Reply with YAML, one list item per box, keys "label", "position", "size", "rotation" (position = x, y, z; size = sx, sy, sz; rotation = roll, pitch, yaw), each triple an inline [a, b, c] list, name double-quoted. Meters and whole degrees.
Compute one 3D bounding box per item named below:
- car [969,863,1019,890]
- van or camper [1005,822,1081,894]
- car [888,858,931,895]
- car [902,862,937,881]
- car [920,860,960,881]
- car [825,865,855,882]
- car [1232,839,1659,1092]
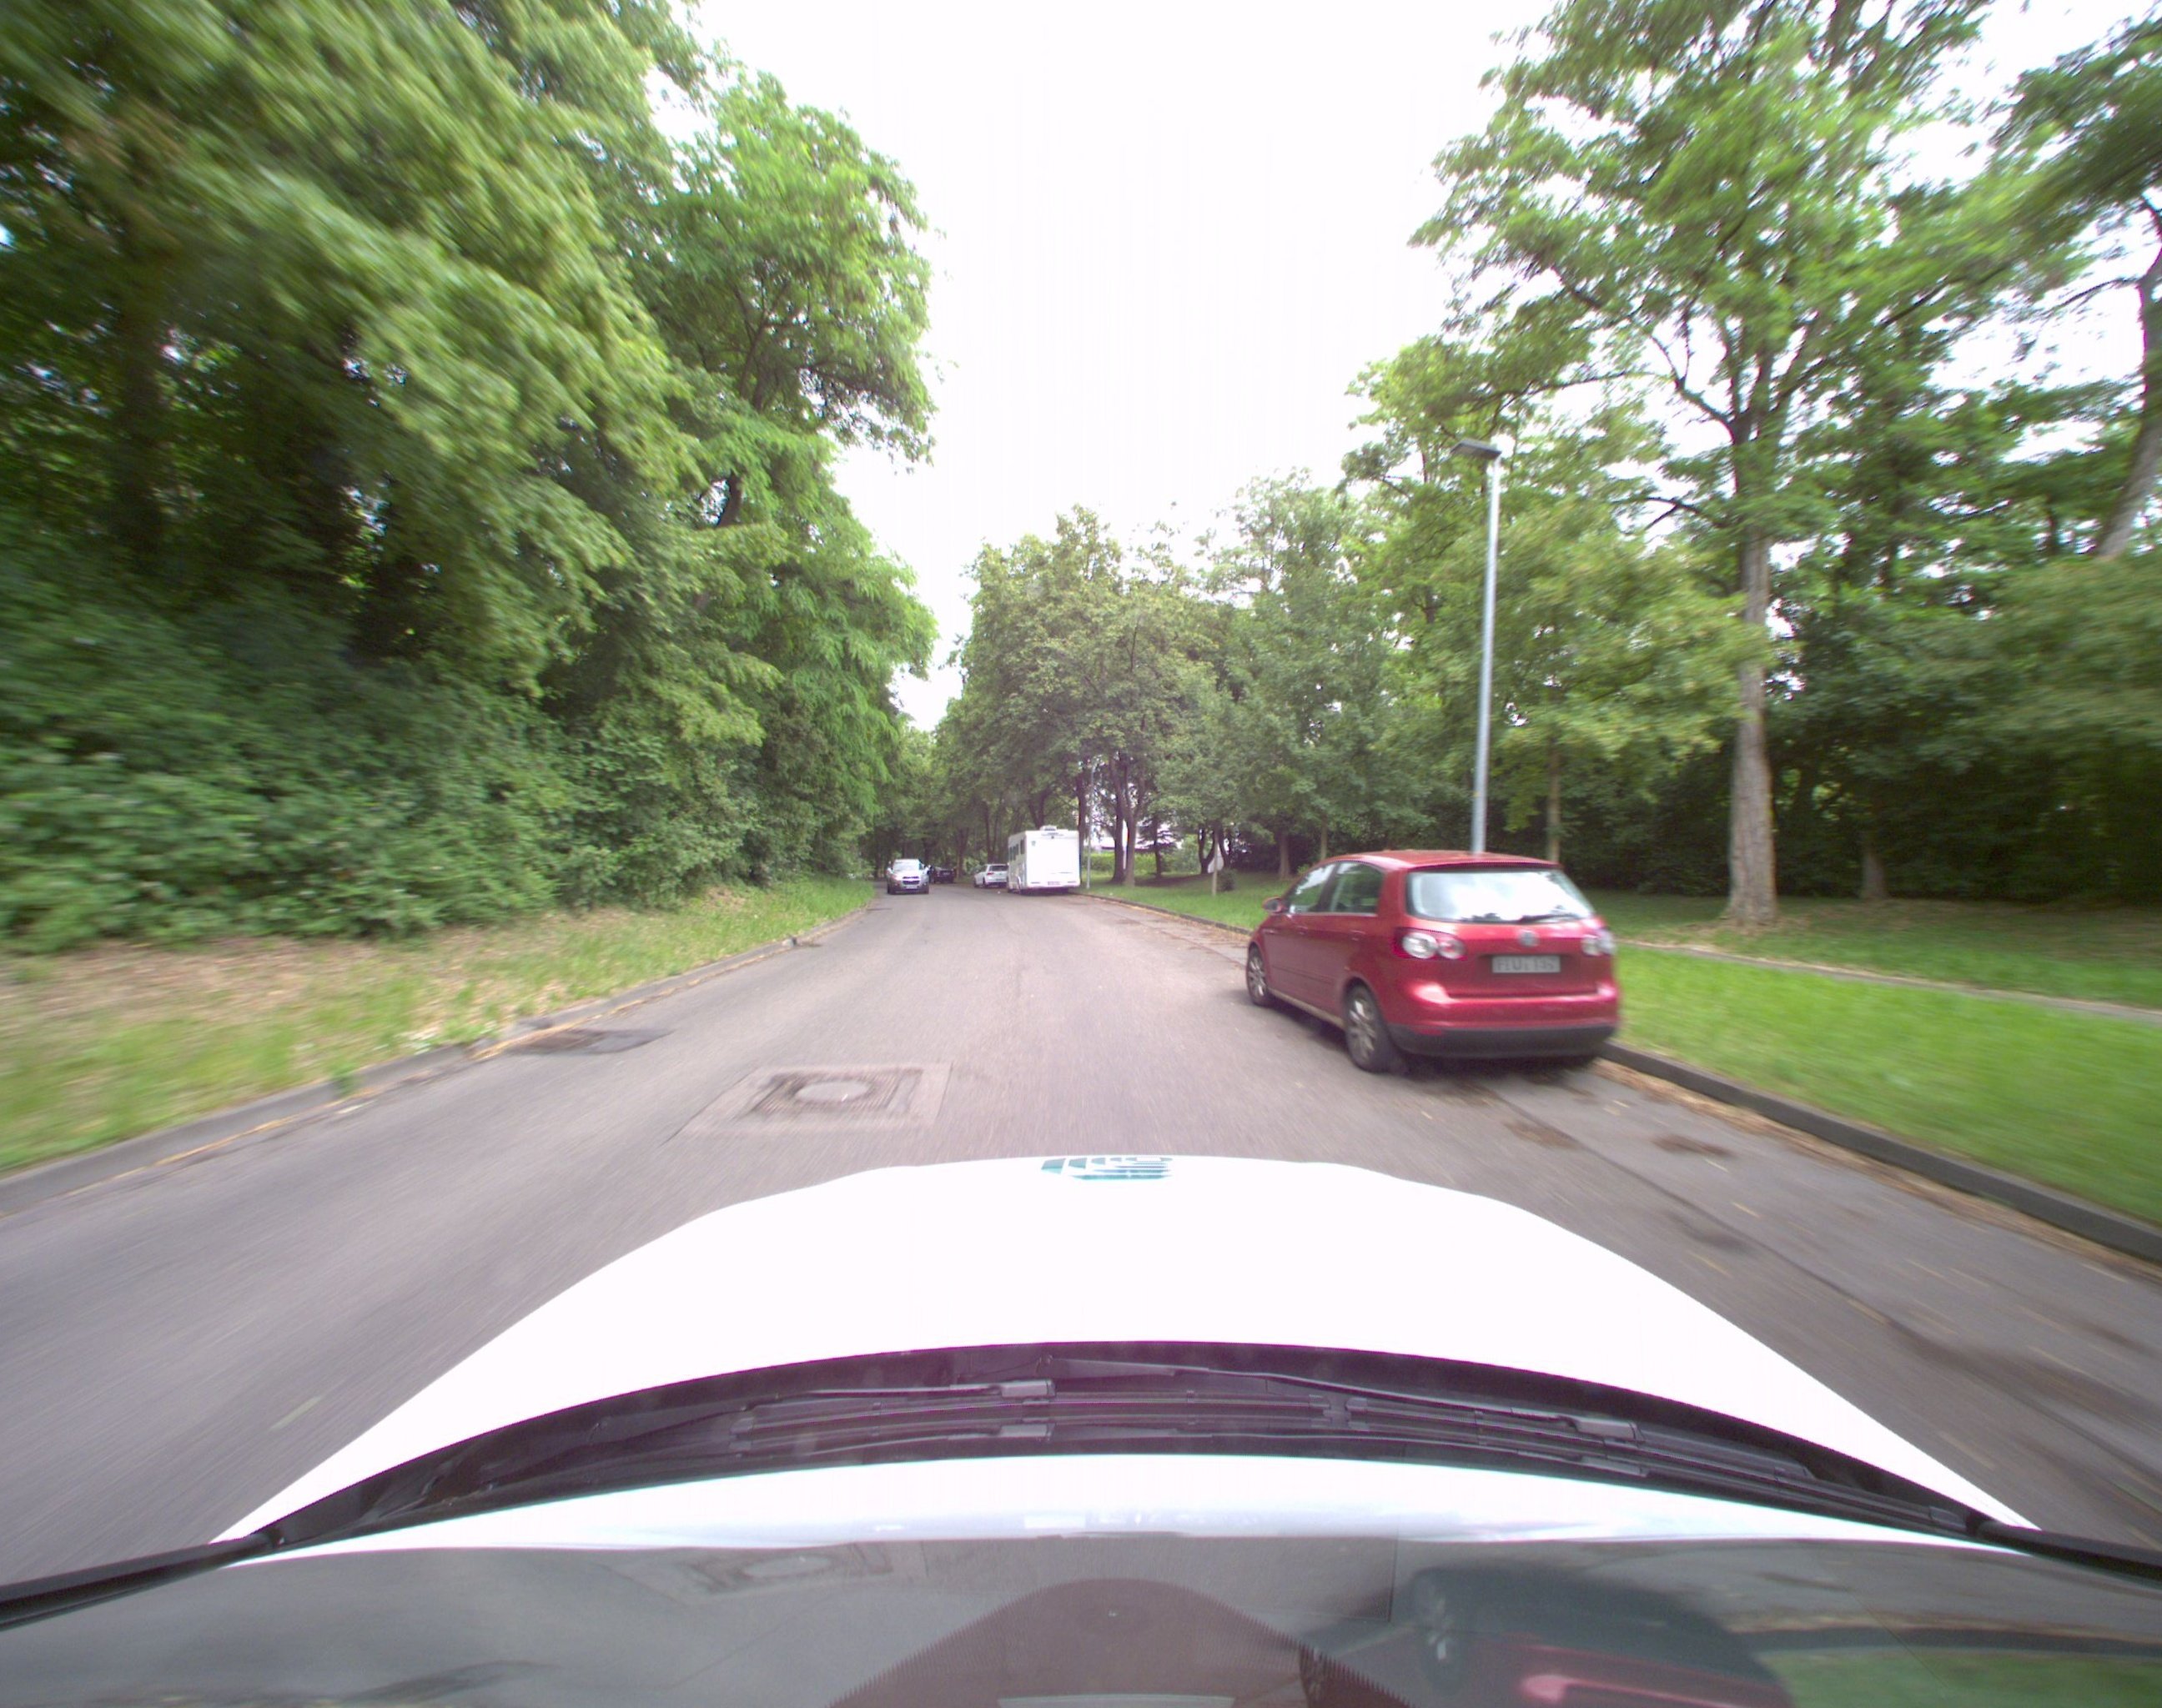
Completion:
- label: "car"
  position: [-5.338, 1.329, 49.546]
  size: [2.001, 1.473, 3.971]
  rotation: [2, 0, -22]
- label: "van or camper"
  position: [-1.814, 0.155, 36.842]
  size: [2.432, 3.007, 5.183]
  rotation: [-1, 0, -14]
- label: "car"
  position: [-8.573, 1.071, 40.440]
  size: [1.861, 1.663, 4.547]
  rotation: [-2, 0, -15]
- label: "car"
  position: [-13.982, 1.498, 70.419]
  size: [2.004, 1.613, 3.965]
  rotation: [0, -1, -27]
- label: "car"
  position: [-11.260, 1.316, 64.992]
  size: [2.004, 1.501, 3.965]
  rotation: [2, 0, -27]
- label: "car"
  position: [-21.668, 1.733, 73.031]
  size: [1.823, 1.467, 3.963]
  rotation: [-1, 0, -28]
- label: "car"
  position: [2.692, 0.710, 7.137]
  size: [1.735, 1.562, 3.994]
  rotation: [0, -1, -4]
